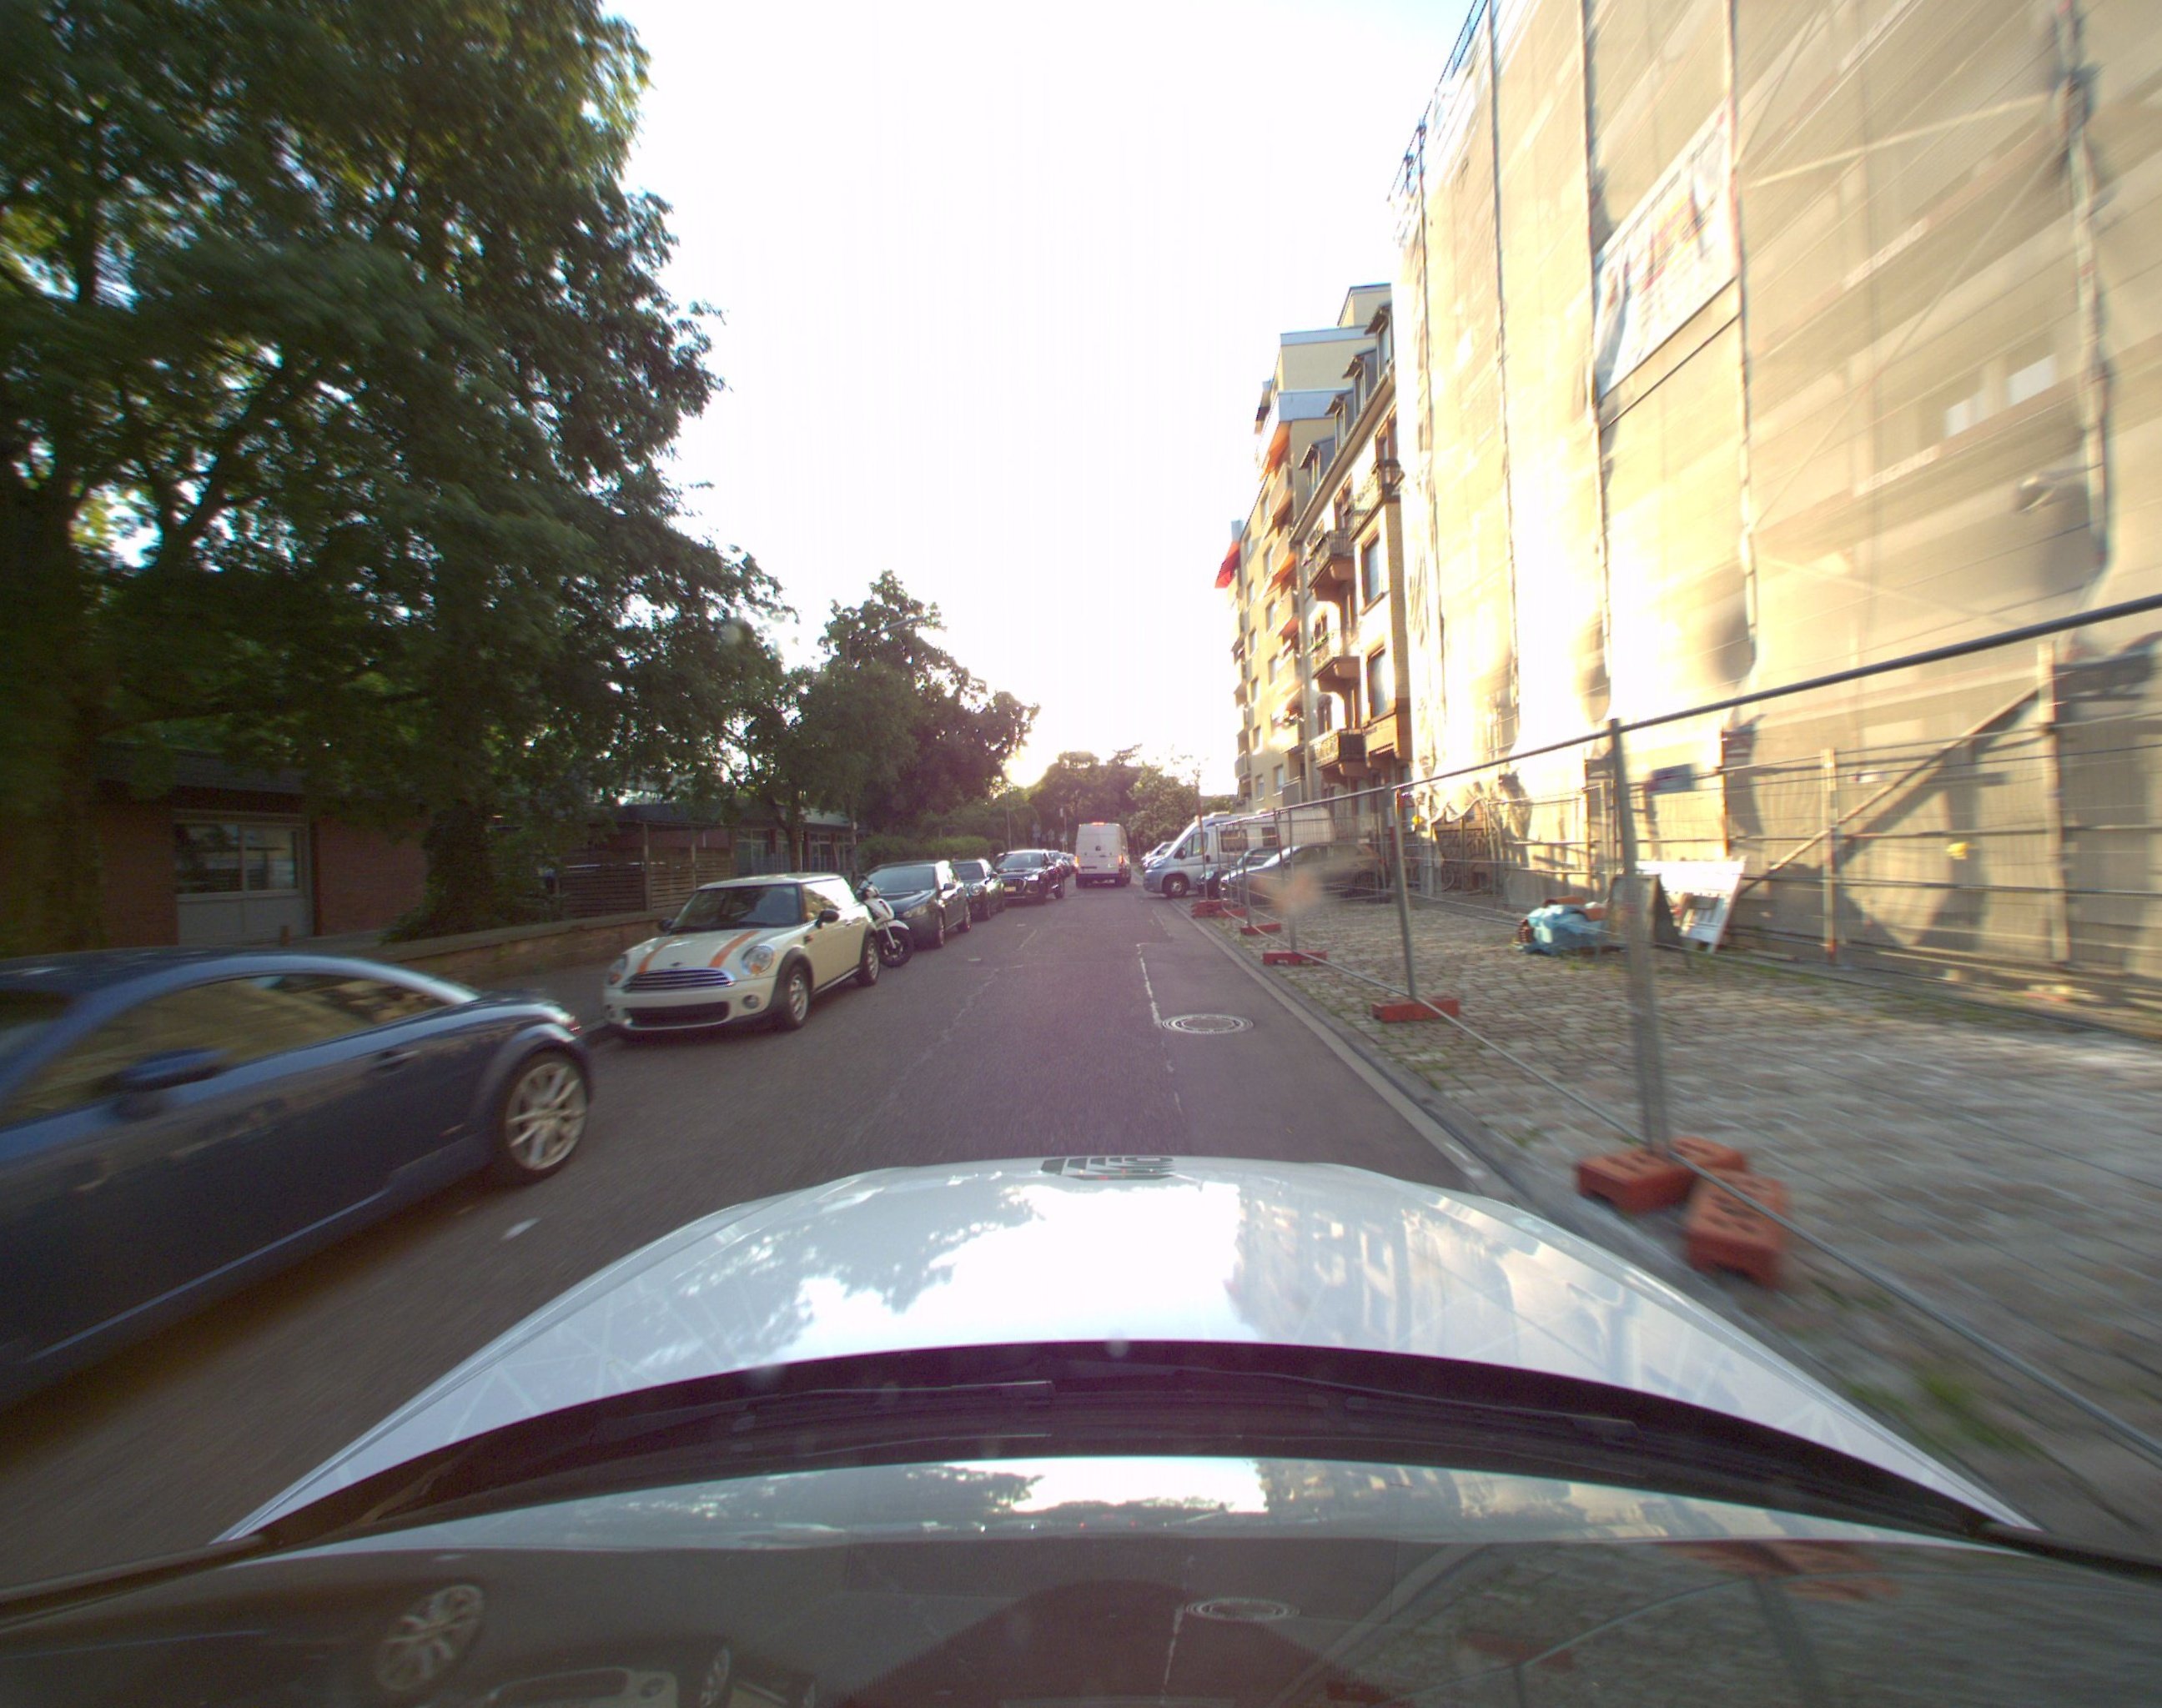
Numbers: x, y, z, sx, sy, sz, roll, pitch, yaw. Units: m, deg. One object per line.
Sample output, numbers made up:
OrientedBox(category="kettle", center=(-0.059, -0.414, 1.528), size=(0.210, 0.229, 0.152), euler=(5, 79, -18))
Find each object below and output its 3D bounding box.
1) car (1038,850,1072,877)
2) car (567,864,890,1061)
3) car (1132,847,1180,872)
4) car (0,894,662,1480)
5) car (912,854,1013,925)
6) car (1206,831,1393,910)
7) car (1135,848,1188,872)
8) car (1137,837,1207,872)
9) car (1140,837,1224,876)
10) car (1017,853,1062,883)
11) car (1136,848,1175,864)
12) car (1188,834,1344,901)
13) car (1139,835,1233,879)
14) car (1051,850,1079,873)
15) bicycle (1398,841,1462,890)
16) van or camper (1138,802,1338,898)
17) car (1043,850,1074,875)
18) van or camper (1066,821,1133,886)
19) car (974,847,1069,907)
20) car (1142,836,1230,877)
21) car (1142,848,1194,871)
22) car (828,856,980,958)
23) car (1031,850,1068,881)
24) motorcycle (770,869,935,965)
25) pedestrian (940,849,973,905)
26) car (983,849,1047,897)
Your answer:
OrientedBox(category="car", center=(-1.604, 0.577, 52.315), size=(1.987, 1.618, 4.000), euler=(-2, 0, 0))
OrientedBox(category="car", center=(-3.356, 0.918, 8.615), size=(1.595, 1.431, 3.804), euler=(-5, 0, 1))
OrientedBox(category="car", center=(6.269, 0.469, 68.470), size=(3.970, 2.013, 2.002), euler=(-2, 0, 3))
OrientedBox(category="car", center=(-3.533, 0.965, 2.948), size=(1.652, 1.313, 4.157), euler=(-4, 0, 2))
OrientedBox(category="car", center=(-2.823, 0.804, 20.280), size=(1.630, 1.478, 3.996), euler=(-4, 0, 3))
OrientedBox(category="car", center=(5.311, 0.377, 20.174), size=(3.978, 1.515, 2.017), euler=(-5, 0, -3))
OrientedBox(category="car", center=(6.185, 0.446, 62.999), size=(3.971, 1.728, 2.001), euler=(-2, 0, 2))
OrientedBox(category="car", center=(6.110, 0.035, 55.026), size=(4.480, 2.230, 2.032), euler=(-2, 0, 1))
OrientedBox(category="car", center=(5.915, 0.131, 48.264), size=(4.690, 2.145, 2.000), euler=(-2, 0, 0))
OrientedBox(category="car", center=(-2.101, 0.675, 42.119), size=(1.986, 1.398, 4.001), euler=(-2, 0, 1))
OrientedBox(category="car", center=(8.021, 0.242, 88.287), size=(3.976, 1.618, 1.999), euler=(-2, 0, -2))
OrientedBox(category="car", center=(5.093, 0.385, 22.784), size=(3.919, 1.486, 1.788), euler=(-5, -2, 3))
OrientedBox(category="car", center=(5.494, 0.153, 42.924), size=(4.690, 2.145, 2.000), euler=(-2, 0, 0))
OrientedBox(category="car", center=(-1.189, 0.570, 62.573), size=(1.987, 1.618, 4.000), euler=(-2, 0, 0))
OrientedBox(category="bicycle", center=(8.834, 0.284, 20.713), size=(0.629, 1.168, 2.032), euler=(-2, 0, -4))
OrientedBox(category="van or camper", center=(4.850, -0.135, 25.839), size=(5.908, 2.770, 2.110), euler=(-1, 0, 0))
OrientedBox(category="car", center=(-1.559, 0.588, 56.859), size=(1.987, 1.618, 4.000), euler=(-2, 0, 0))
OrientedBox(category="van or camper", center=(0.907, -0.046, 35.252), size=(2.442, 2.547, 6.092), euler=(-1, 0, 5))
OrientedBox(category="car", center=(-1.688, 0.631, 24.925), size=(1.793, 1.569, 4.577), euler=(-3, 0, 9))
OrientedBox(category="car", center=(5.844, 0.138, 45.837), size=(4.690, 2.145, 2.000), euler=(-2, 0, 0))
OrientedBox(category="car", center=(6.998, 0.430, 65.823), size=(3.971, 1.728, 2.001), euler=(-2, 0, 2))
OrientedBox(category="car", center=(-3.079, 0.847, 15.114), size=(1.709, 1.496, 4.361), euler=(-4, 0, 1))
OrientedBox(category="car", center=(-1.816, 0.639, 47.338), size=(1.988, 1.662, 3.997), euler=(-2, 0, -2))
OrientedBox(category="motorcycle", center=(-3.330, 0.908, 11.925), size=(2.147, 1.303, 0.883), euler=(-2, 0, 16))
OrientedBox(category="pedestrian", center=(-4.169, 0.768, 27.364), size=(0.934, 1.830, 0.787), euler=(-2, 0, 0))
OrientedBox(category="car", center=(-2.511, 0.693, 31.792), size=(1.775, 1.631, 4.004), euler=(-5, 0, 4))
